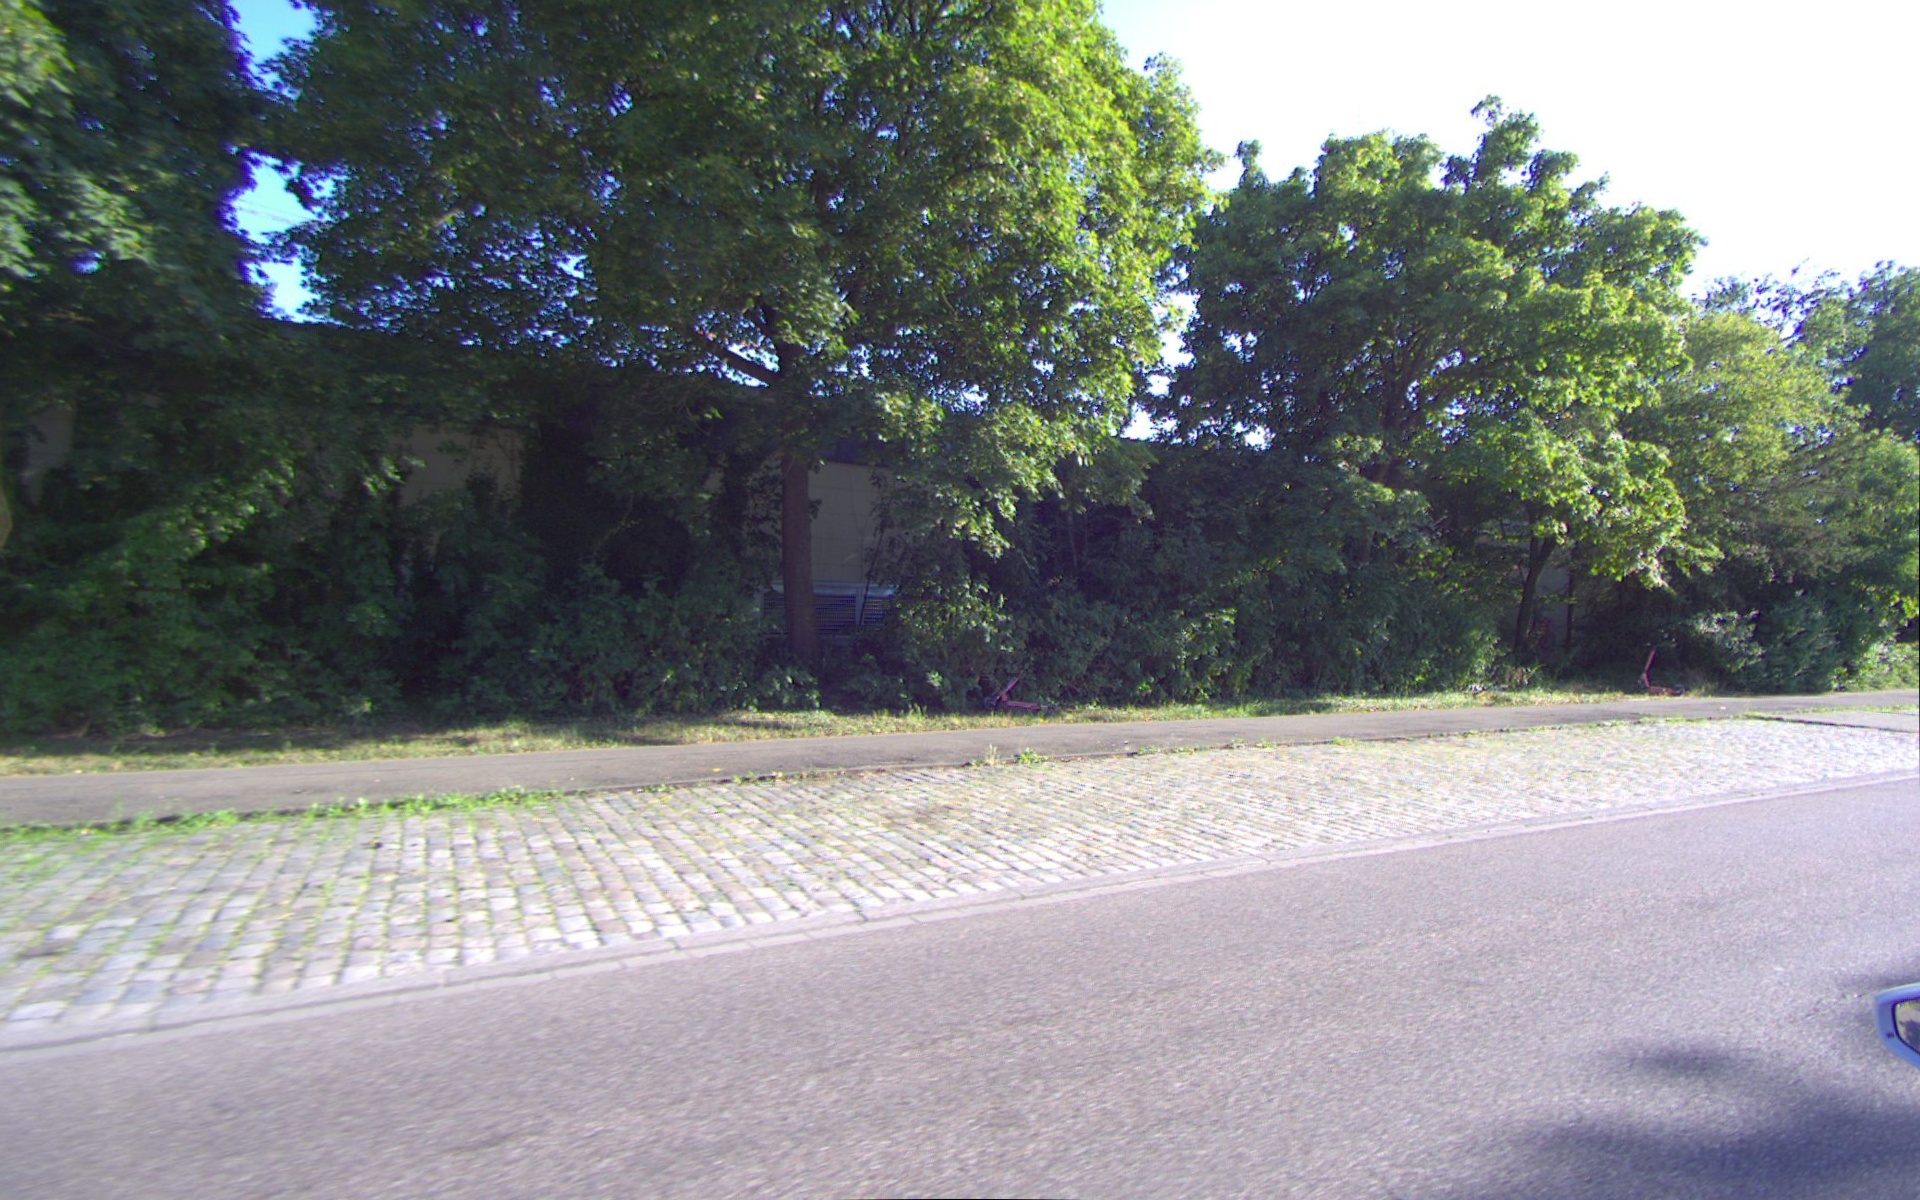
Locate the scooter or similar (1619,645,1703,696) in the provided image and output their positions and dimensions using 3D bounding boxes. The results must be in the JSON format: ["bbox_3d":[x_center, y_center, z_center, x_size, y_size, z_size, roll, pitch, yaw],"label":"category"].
[{"bbox_3d":[16.724,1.670,23.989,1.552,1.160,0.578,1,-2,10],"label":"scooter or similar"}]
